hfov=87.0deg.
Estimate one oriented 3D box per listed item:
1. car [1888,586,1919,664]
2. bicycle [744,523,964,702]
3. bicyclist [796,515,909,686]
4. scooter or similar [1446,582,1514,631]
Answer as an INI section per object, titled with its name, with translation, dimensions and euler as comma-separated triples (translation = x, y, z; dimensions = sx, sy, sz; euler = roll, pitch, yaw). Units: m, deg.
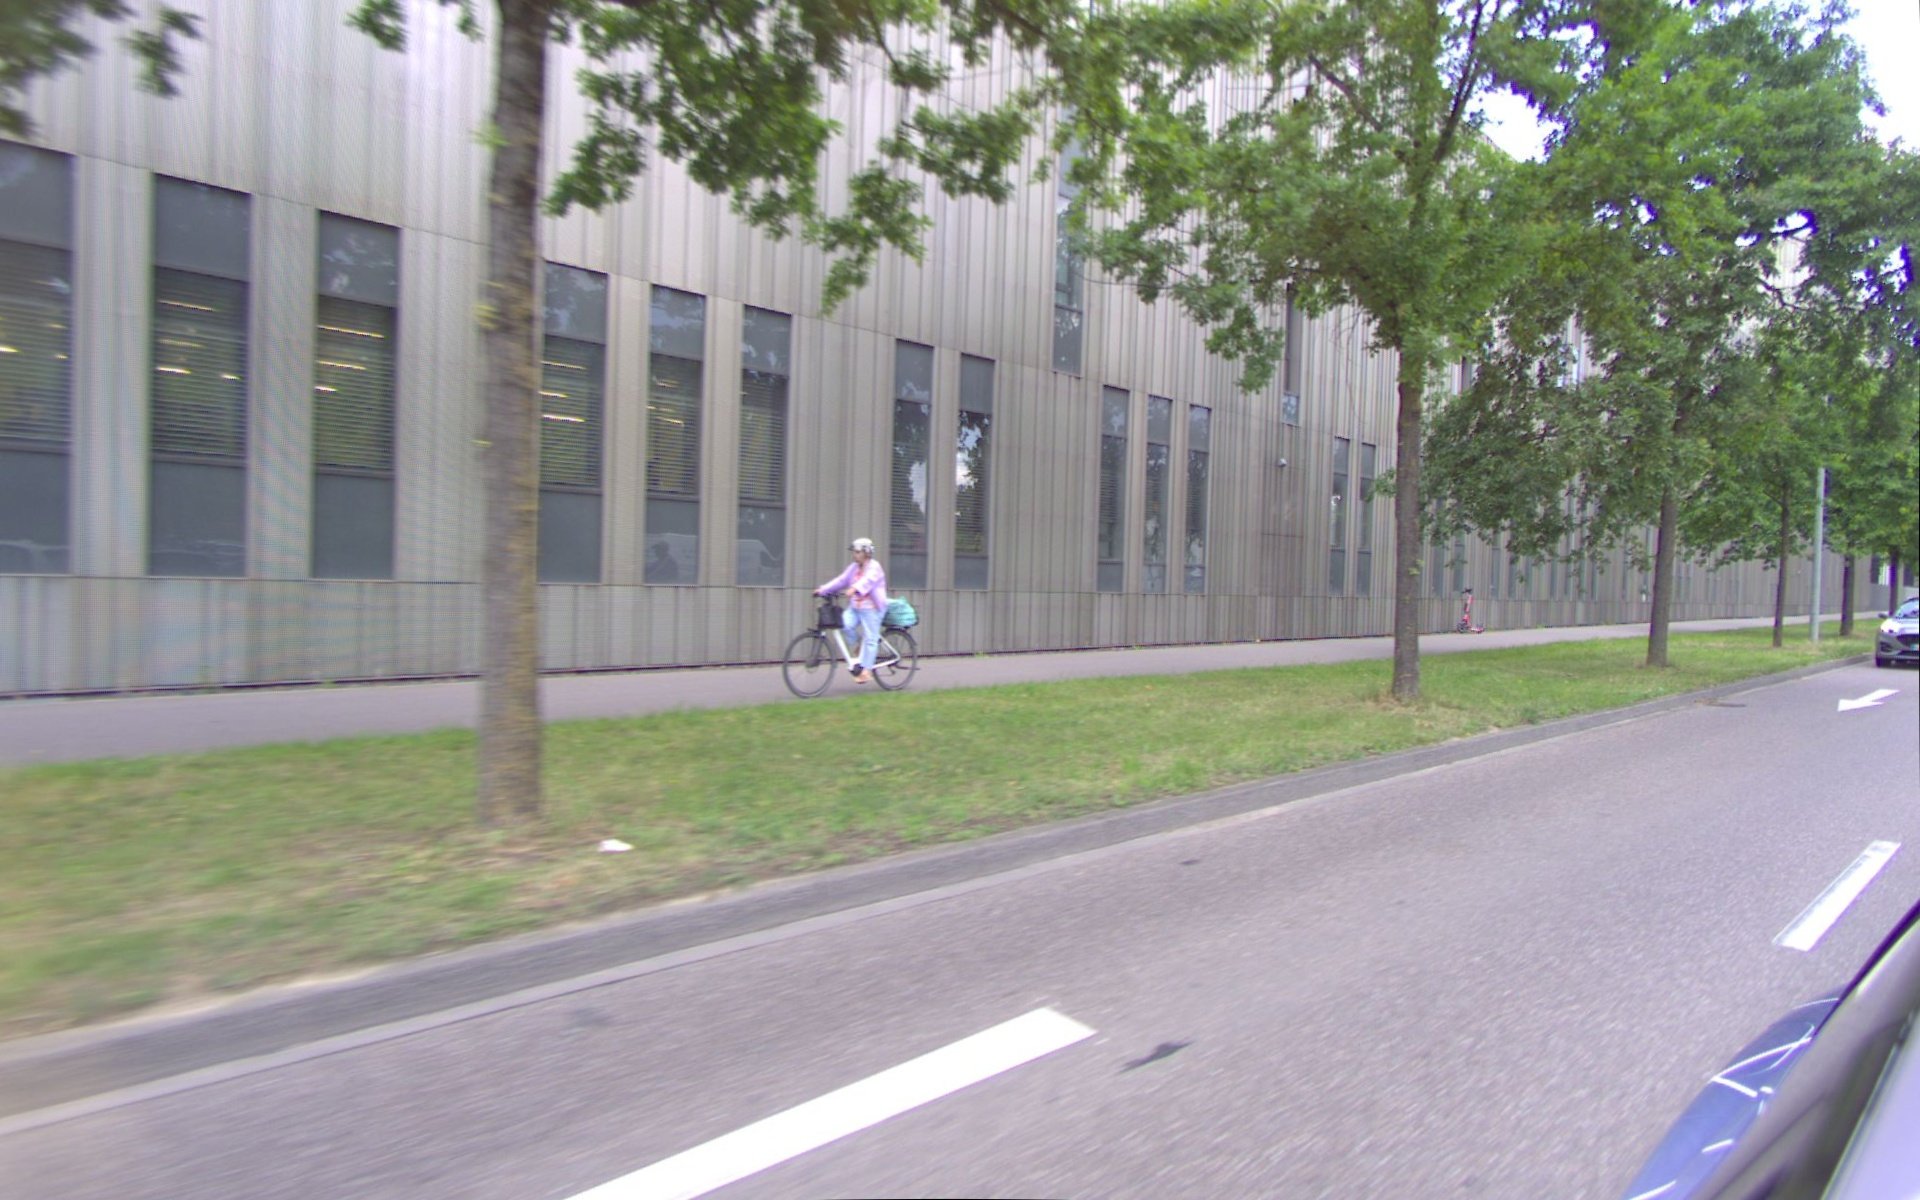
[car]
translation = 21.504, 0.530, 21.782
dimensions = 3.884, 1.594, 1.822
euler = 0, 0, -41
[bicycle]
translation = -1.118, 0.101, 11.272
dimensions = 2.492, 1.795, 0.720
euler = 0, 2, -44
[bicyclist]
translation = -1.186, -0.011, 11.204
dimensions = 0.972, 1.790, 0.716
euler = 0, 2, -44
[scooter or similar]
translation = 14.151, 0.162, 27.518
dimensions = 2.436, 1.261, 0.706
euler = 0, 3, -40
